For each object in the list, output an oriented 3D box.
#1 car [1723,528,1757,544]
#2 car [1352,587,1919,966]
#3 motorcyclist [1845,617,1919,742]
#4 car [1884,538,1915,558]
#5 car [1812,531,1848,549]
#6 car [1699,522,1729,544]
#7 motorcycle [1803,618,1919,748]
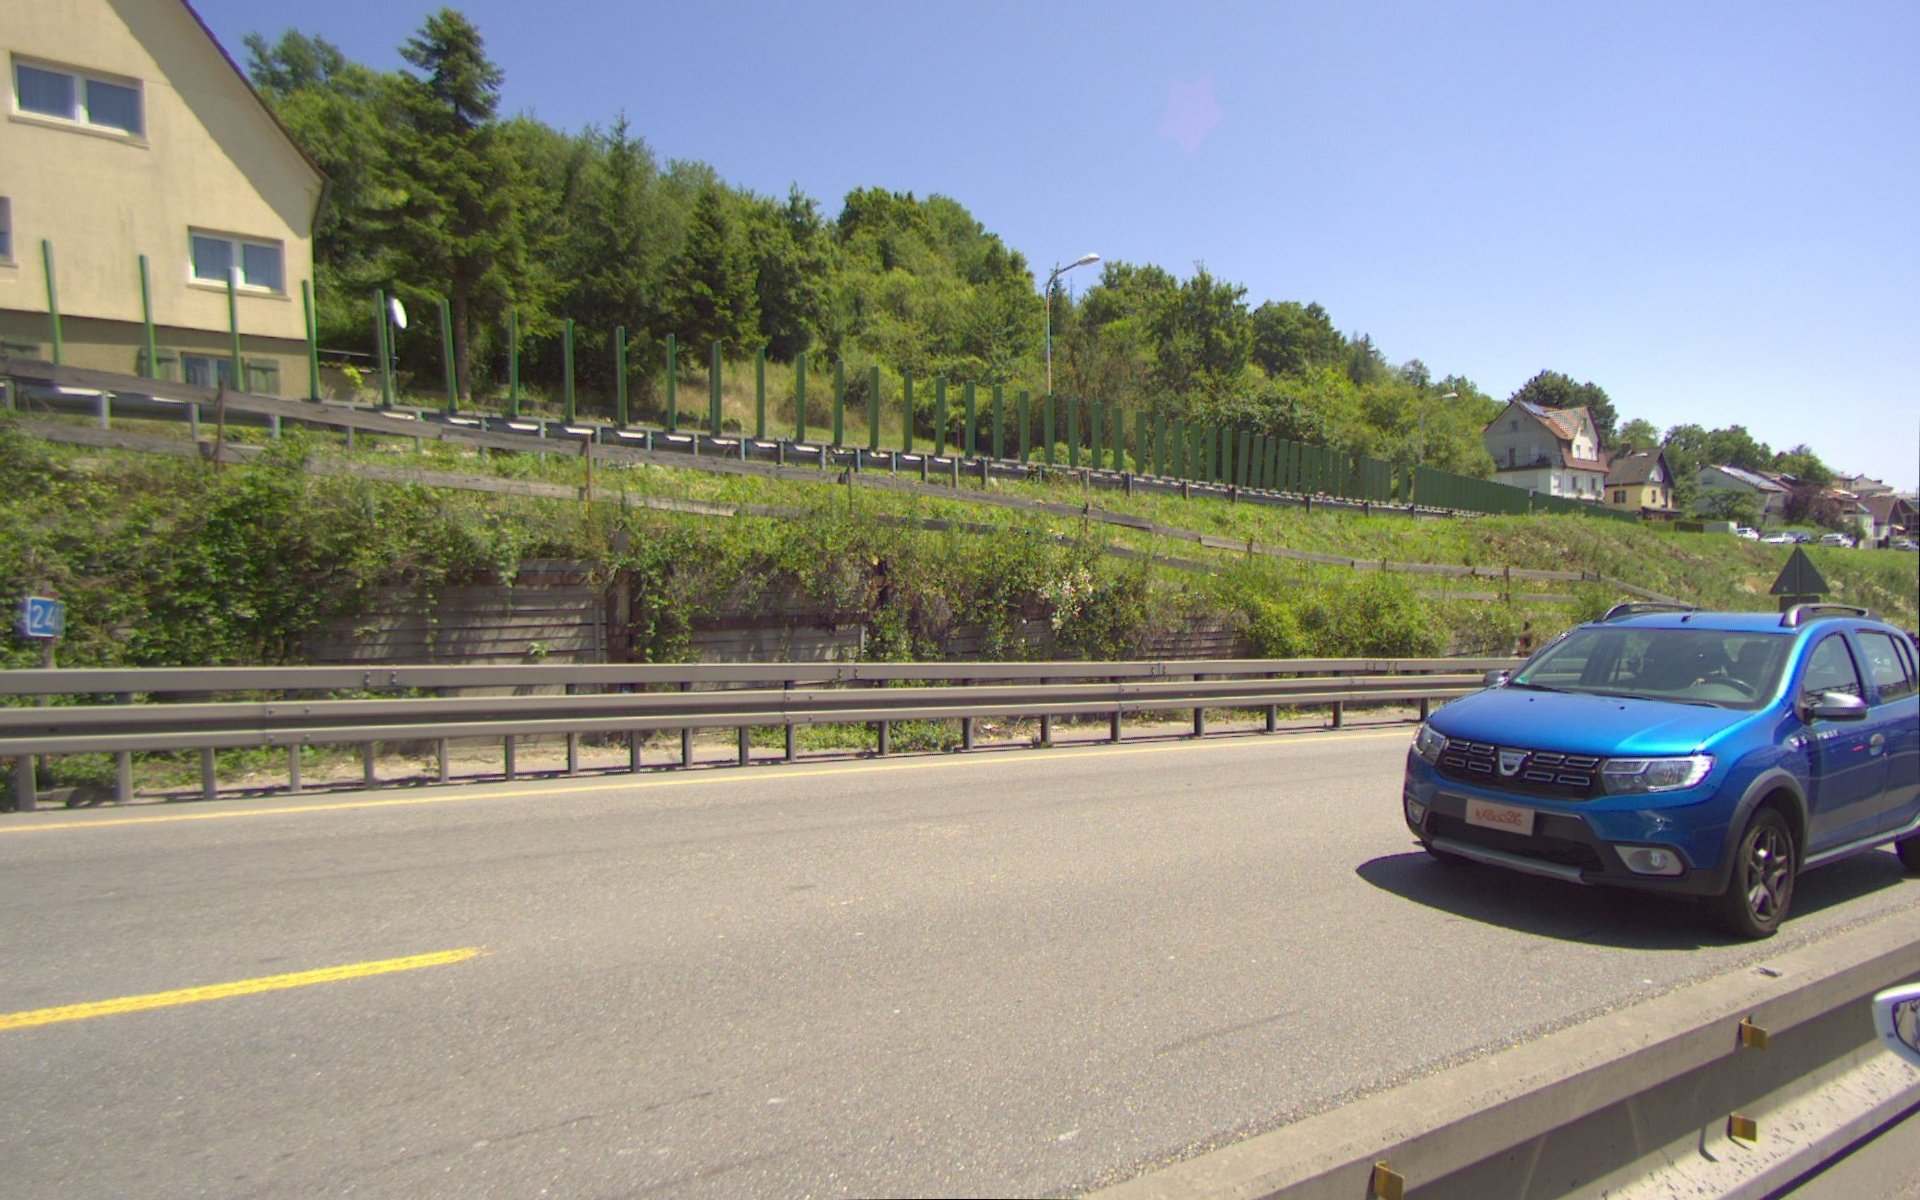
[{"bbox_3d":[60.328,-4.936,77.691,3.243,1.052,1.271,1,-1,-36],"label":"car"},{"bbox_3d":[4.390,0.800,6.066,3.846,1.631,1.755,1,0,-30],"label":"car"},{"bbox_3d":[12.375,1.038,13.388,0.727,1.606,0.662,2,-1,-30],"label":"motorcyclist"},{"bbox_3d":[97.992,-5.420,104.739,3.968,1.751,1.909,2,-1,-40],"label":"car"},{"bbox_3d":[81.543,-5.627,94.137,3.969,1.337,1.976,2,3,-41],"label":"car"},{"bbox_3d":[56.385,-5.009,75.102,1.705,1.417,3.787,3,1,37],"label":"car"},{"bbox_3d":[12.276,1.038,13.364,2.590,1.572,0.786,1,1,-30],"label":"motorcycle"}]
